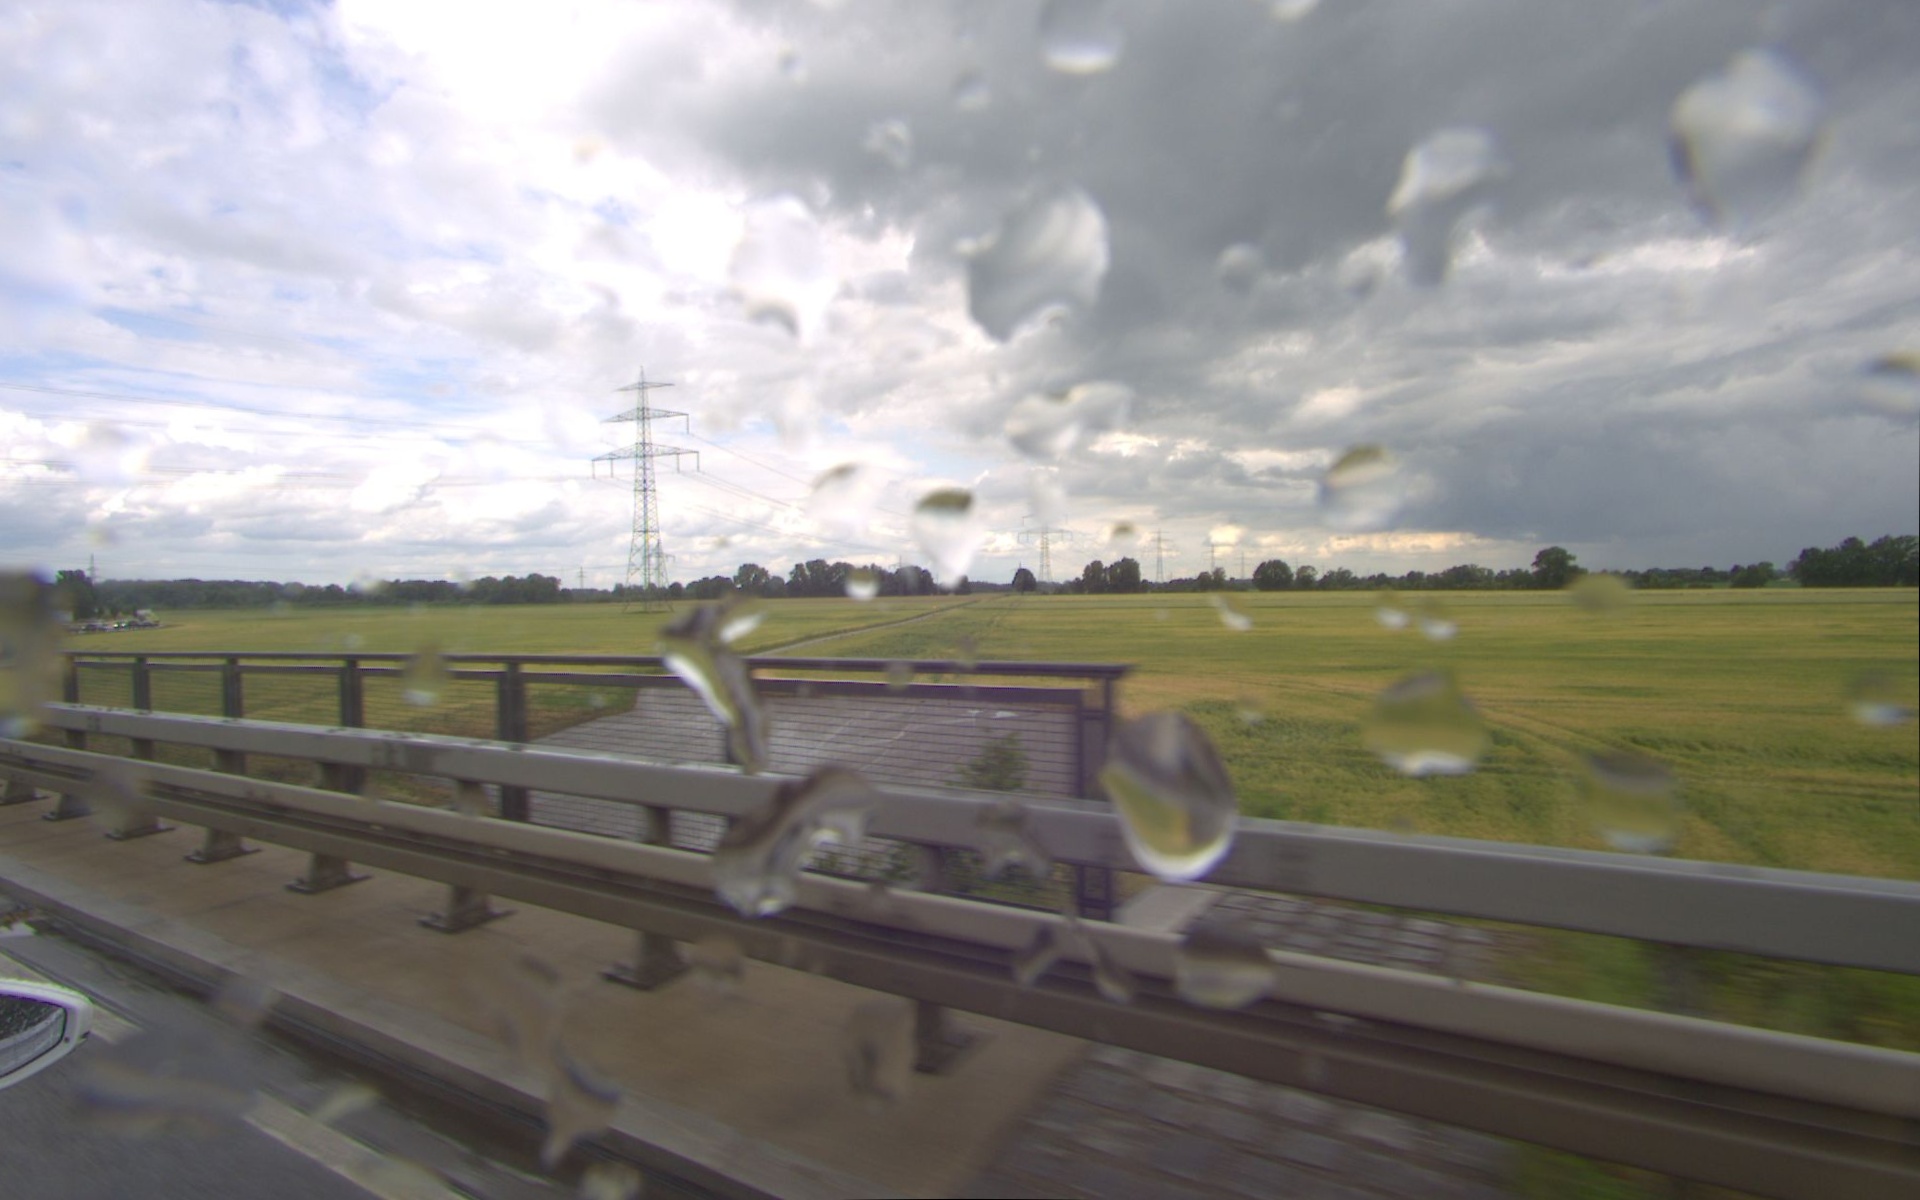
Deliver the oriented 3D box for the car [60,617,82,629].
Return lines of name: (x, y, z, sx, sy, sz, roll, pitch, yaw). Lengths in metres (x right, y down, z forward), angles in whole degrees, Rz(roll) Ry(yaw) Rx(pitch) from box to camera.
car: (-149.723, 3.859, 168.654, 1.972, 2.039, 3.980, 0, -2, -31)

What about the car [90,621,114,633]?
car: (-153.971, 4.908, 179.723, 1.967, 2.039, 3.991, 0, -2, -22)

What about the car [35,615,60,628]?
car: (-146.414, 3.420, 160.702, 2.202, 2.039, 3.980, 0, -2, -31)

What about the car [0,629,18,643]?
car: (-140.778, 5.301, 147.500, 1.971, 2.039, 3.981, 0, -2, -30)

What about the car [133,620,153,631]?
car: (-162.749, 5.027, 199.456, 1.737, 2.040, 3.991, 0, -1, -20)
